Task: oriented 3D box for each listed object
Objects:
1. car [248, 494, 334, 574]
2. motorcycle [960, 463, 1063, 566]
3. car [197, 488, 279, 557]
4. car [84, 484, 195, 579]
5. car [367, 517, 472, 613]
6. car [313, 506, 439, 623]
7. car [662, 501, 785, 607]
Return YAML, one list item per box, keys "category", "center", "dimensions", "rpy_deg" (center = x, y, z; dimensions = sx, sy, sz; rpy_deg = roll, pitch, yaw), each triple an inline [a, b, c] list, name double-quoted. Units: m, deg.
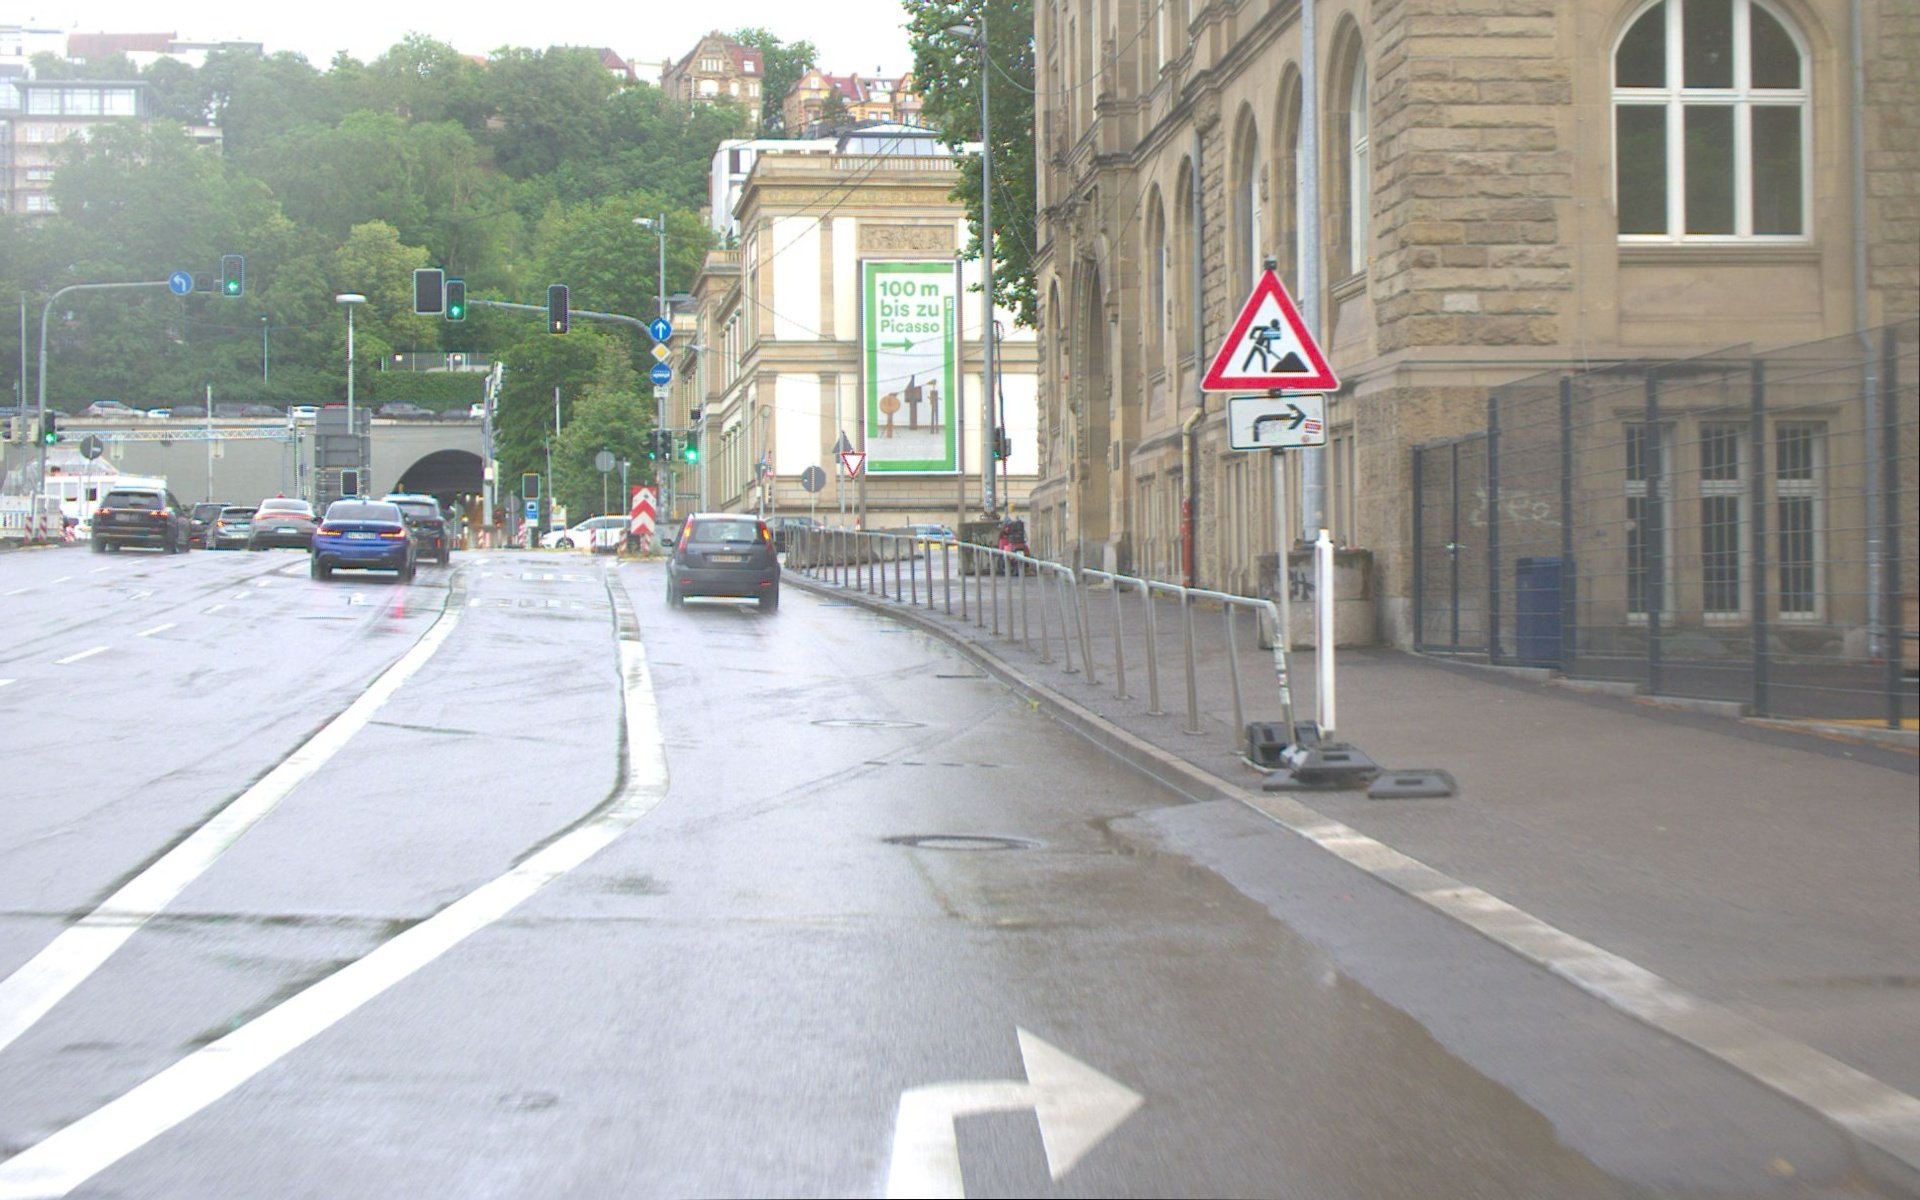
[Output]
- category: "car"
  center: [-17.993, -1.767, 92.575]
  dimensions: [2.051, 2.007, 4.001]
  rpy_deg: [-1, -1, -8]
- category: "motorcycle"
  center: [1.006, -1.724, 69.072]
  dimensions: [1.795, 2.006, 3.814]
  rpy_deg: [0, 2, -3]
- category: "car"
  center: [-22.632, -2.415, 107.908]
  dimensions: [1.993, 2.007, 4.000]
  rpy_deg: [-1, -1, -5]
- category: "car"
  center: [-18.687, -1.536, 78.450]
  dimensions: [2.016, 2.007, 4.001]
  rpy_deg: [-1, -1, -7]
- category: "car"
  center: [-12.003, -0.752, 76.515]
  dimensions: [1.776, 2.007, 4.000]
  rpy_deg: [-1, -1, -1]
- category: "car"
  center: [-10.787, -0.624, 63.686]
  dimensions: [2.104, 2.043, 4.001]
  rpy_deg: [-1, -1, -7]
- category: "car"
  center: [-3.676, -0.683, 53.298]
  dimensions: [1.812, 1.522, 4.000]
  rpy_deg: [-1, 0, -4]
